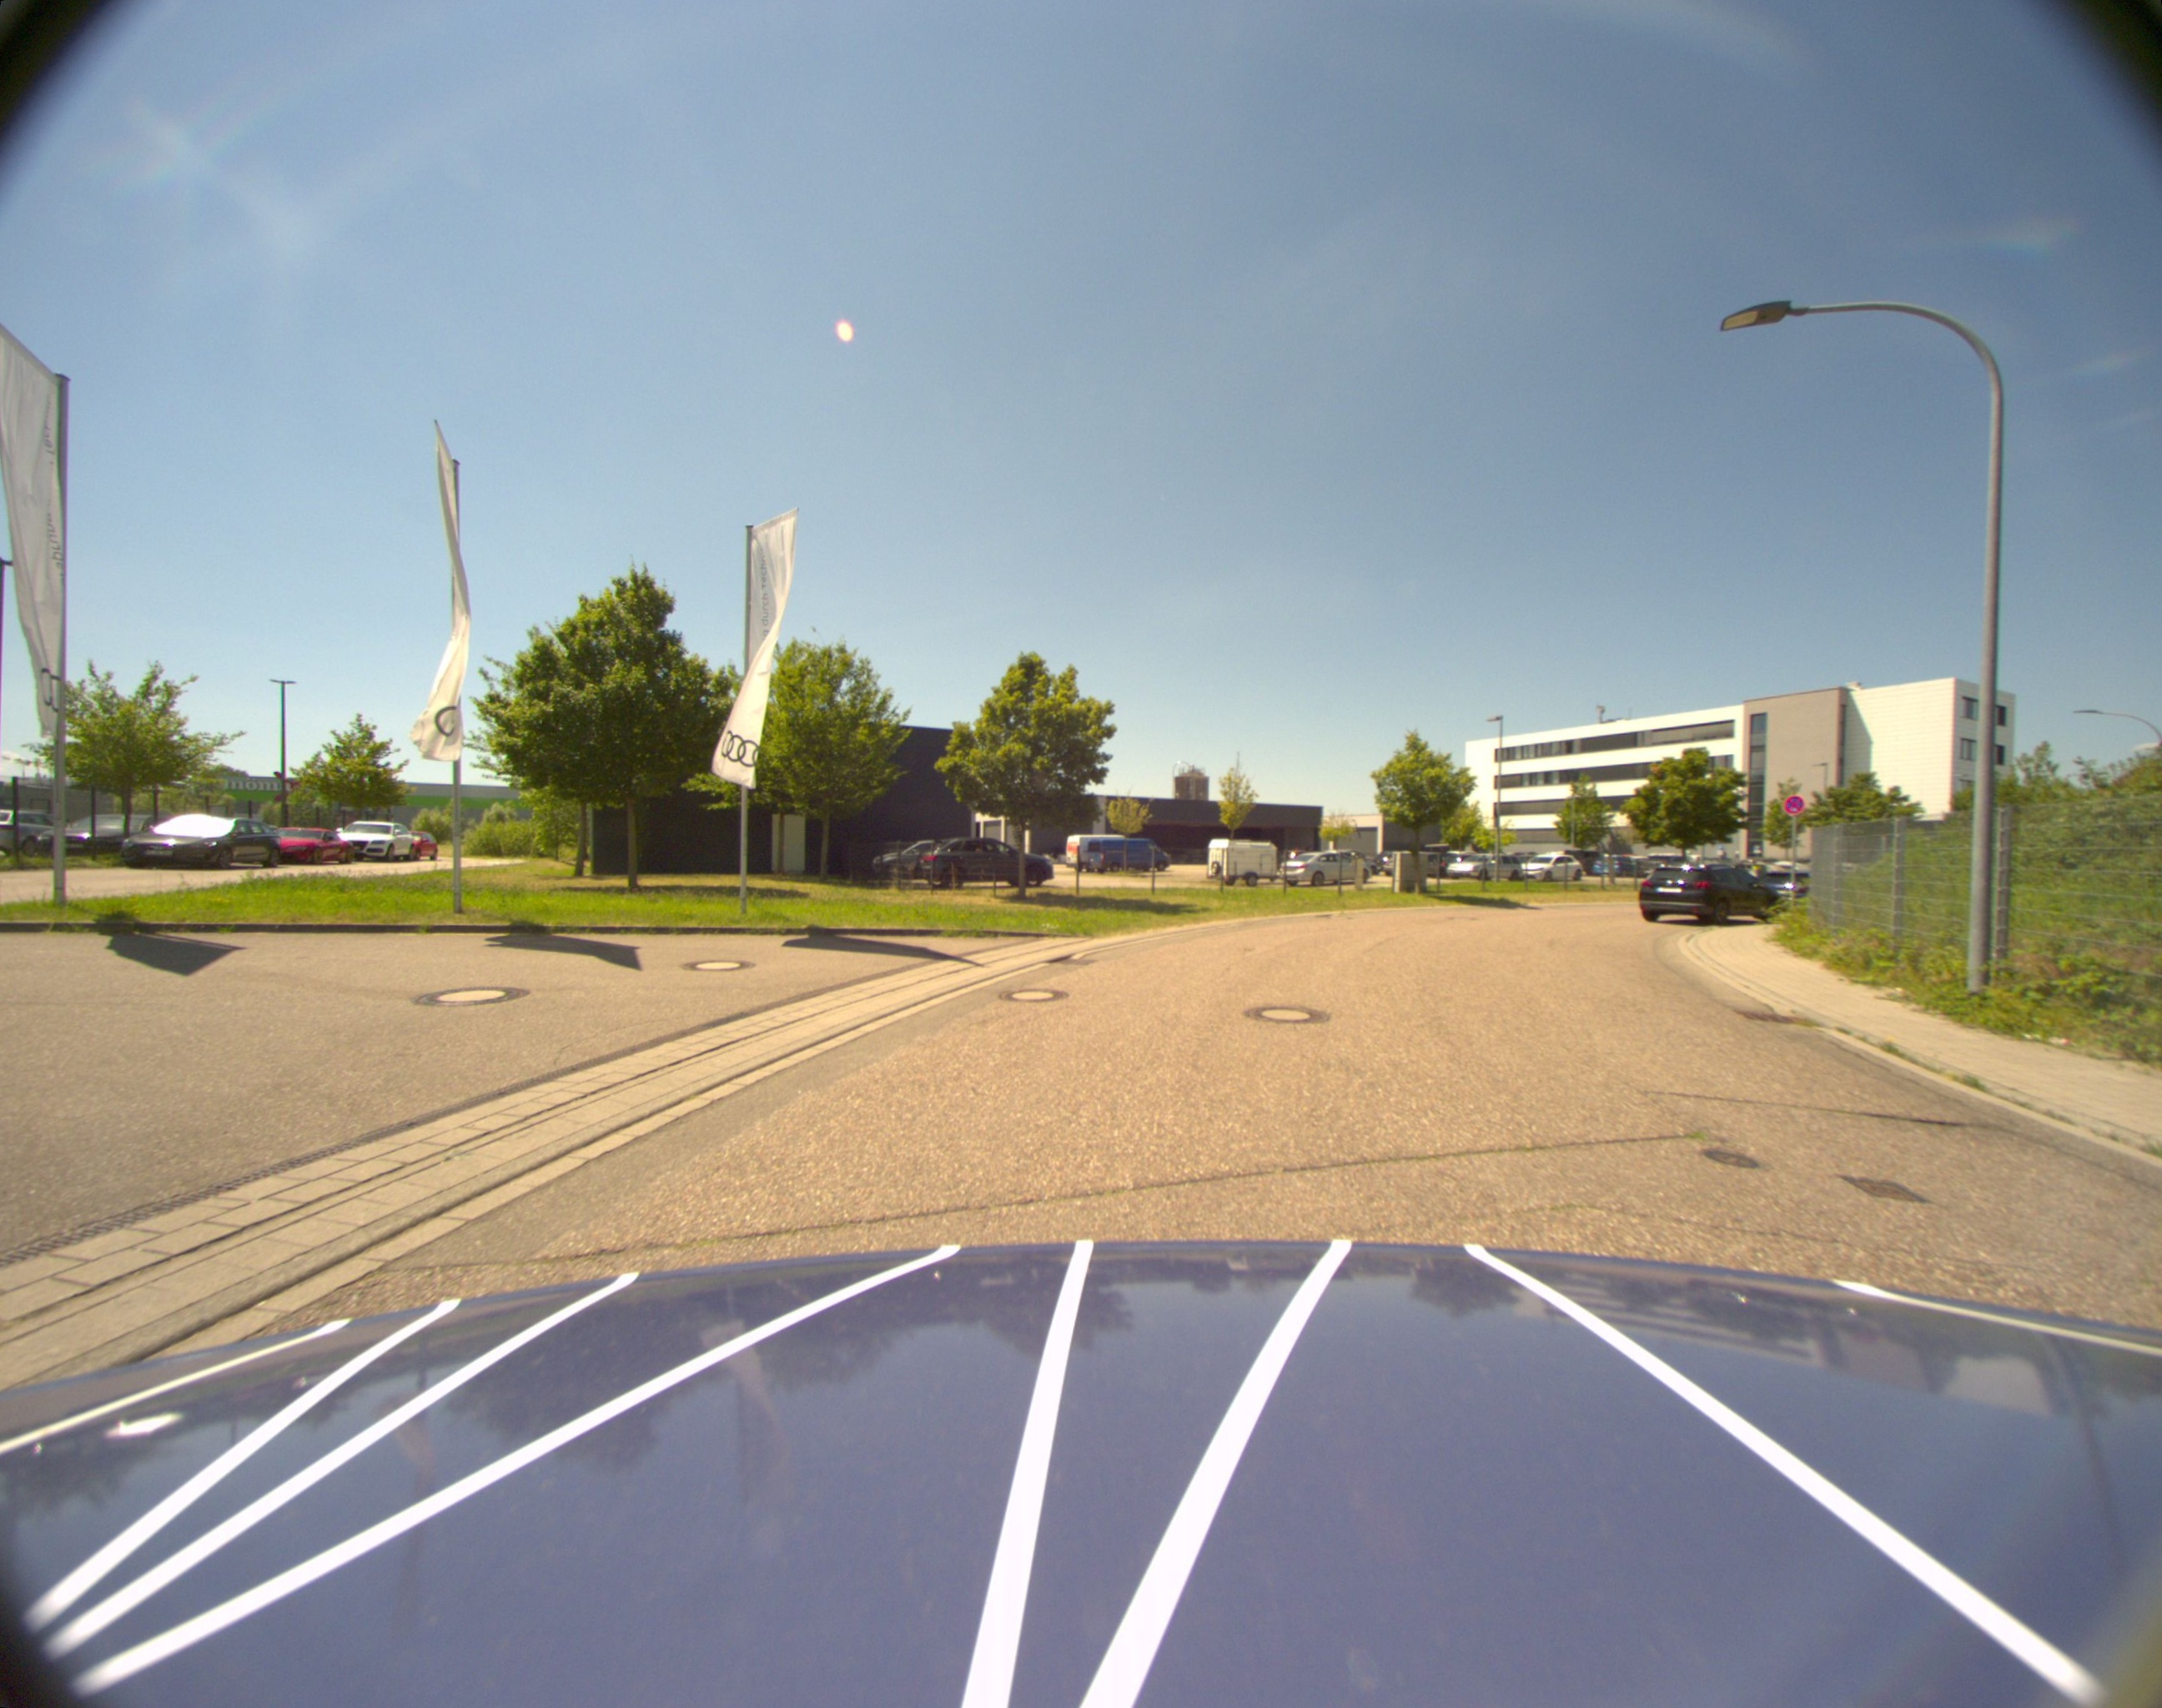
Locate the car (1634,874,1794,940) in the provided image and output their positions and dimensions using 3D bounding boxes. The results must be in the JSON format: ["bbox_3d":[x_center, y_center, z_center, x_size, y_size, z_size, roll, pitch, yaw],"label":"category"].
[{"bbox_3d":[16.653,1.338,19.967,4.139,1.546,1.655,1,0,-26],"label":"car"}]

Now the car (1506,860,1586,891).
[{"bbox_3d":[25.456,1.140,41.589,3.930,1.490,1.851,-1,1,-24],"label":"car"}]

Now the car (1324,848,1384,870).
[{"bbox_3d":[19.720,0.359,54.943,3.930,1.490,1.851,-1,1,-24],"label":"car"}]

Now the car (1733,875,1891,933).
[{"bbox_3d":[21.219,1.380,22.041,4.288,1.446,1.936,1,1,-27],"label":"car"}]

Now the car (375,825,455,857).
[{"bbox_3d":[-32.881,-0.627,37.619,1.828,1.433,4.103,2,0,-24],"label":"car"}]

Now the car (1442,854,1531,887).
[{"bbox_3d":[20.772,0.866,38.901,4.297,1.490,1.851,3,-1,-27],"label":"car"}]

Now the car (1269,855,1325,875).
[{"bbox_3d":[16.989,0.860,59.859,3.930,1.490,1.851,1,0,-24],"label":"car"}]

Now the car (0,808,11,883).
[{"bbox_3d":[-19.761,-0.148,11.658,1.783,1.393,4.563,2,0,-24],"label":"car"}]

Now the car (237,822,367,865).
[{"bbox_3d":[-27.394,-0.383,26.895,1.783,1.349,4.163,2,0,-24],"label":"car"}]

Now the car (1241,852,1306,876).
[{"bbox_3d":[13.940,0.744,55.008,4.259,1.622,1.963,1,0,-24],"label":"car"}]

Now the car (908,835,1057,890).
[{"bbox_3d":[-3.077,0.225,23.850,4.289,1.592,1.776,-1,2,-27],"label":"car"}]

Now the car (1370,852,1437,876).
[{"bbox_3d":[21.203,0.656,49.903,3.930,1.490,1.851,1,0,-24],"label":"car"}]

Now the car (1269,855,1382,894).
[{"bbox_3d":[11.027,0.888,34.238,4.862,1.490,1.851,-2,1,-25],"label":"car"}]

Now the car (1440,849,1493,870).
[{"bbox_3d":[32.634,0.483,64.314,3.931,1.527,1.829,4,-3,-23],"label":"car"}]

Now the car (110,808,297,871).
[{"bbox_3d":[-24.723,-0.407,21.655,1.783,1.557,4.396,2,0,-24],"label":"car"}]

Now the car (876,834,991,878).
[{"bbox_3d":[-5.931,0.090,30.596,4.179,1.558,1.776,2,1,-27],"label":"car"}]

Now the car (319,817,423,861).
[{"bbox_3d":[-29.524,-0.603,31.781,1.828,1.637,4.386,2,0,-24],"label":"car"}]

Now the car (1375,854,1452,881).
[{"bbox_3d":[19.058,0.770,43.501,3.930,1.490,1.851,1,0,-24],"label":"car"}]

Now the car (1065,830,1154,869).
[{"bbox_3d":[1.969,-0.332,52.074,5.686,2.443,2.191,-2,1,-28],"label":"car"}]

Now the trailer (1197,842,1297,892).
[{"bbox_3d":[7.059,0.563,32.371,3.744,1.987,1.851,2,-1,-25],"label":"trailer"}]

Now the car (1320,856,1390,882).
[{"bbox_3d":[17.371,0.956,48.153,3.931,1.490,1.851,2,0,-24],"label":"car"}]

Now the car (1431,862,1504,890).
[{"bbox_3d":[23.344,1.325,45.877,3.931,1.490,1.851,2,0,-24],"label":"car"}]

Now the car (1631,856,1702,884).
[{"bbox_3d":[35.921,0.982,46.600,3.931,1.565,1.828,1,1,-26],"label":"car"}]

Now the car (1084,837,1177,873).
[{"bbox_3d":[3.266,0.008,49.679,5.841,2.212,2.139,-1,2,-27],"label":"car"}]

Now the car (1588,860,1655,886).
[{"bbox_3d":[34.802,1.252,48.920,3.931,1.445,1.829,4,-3,-25],"label":"car"}]
